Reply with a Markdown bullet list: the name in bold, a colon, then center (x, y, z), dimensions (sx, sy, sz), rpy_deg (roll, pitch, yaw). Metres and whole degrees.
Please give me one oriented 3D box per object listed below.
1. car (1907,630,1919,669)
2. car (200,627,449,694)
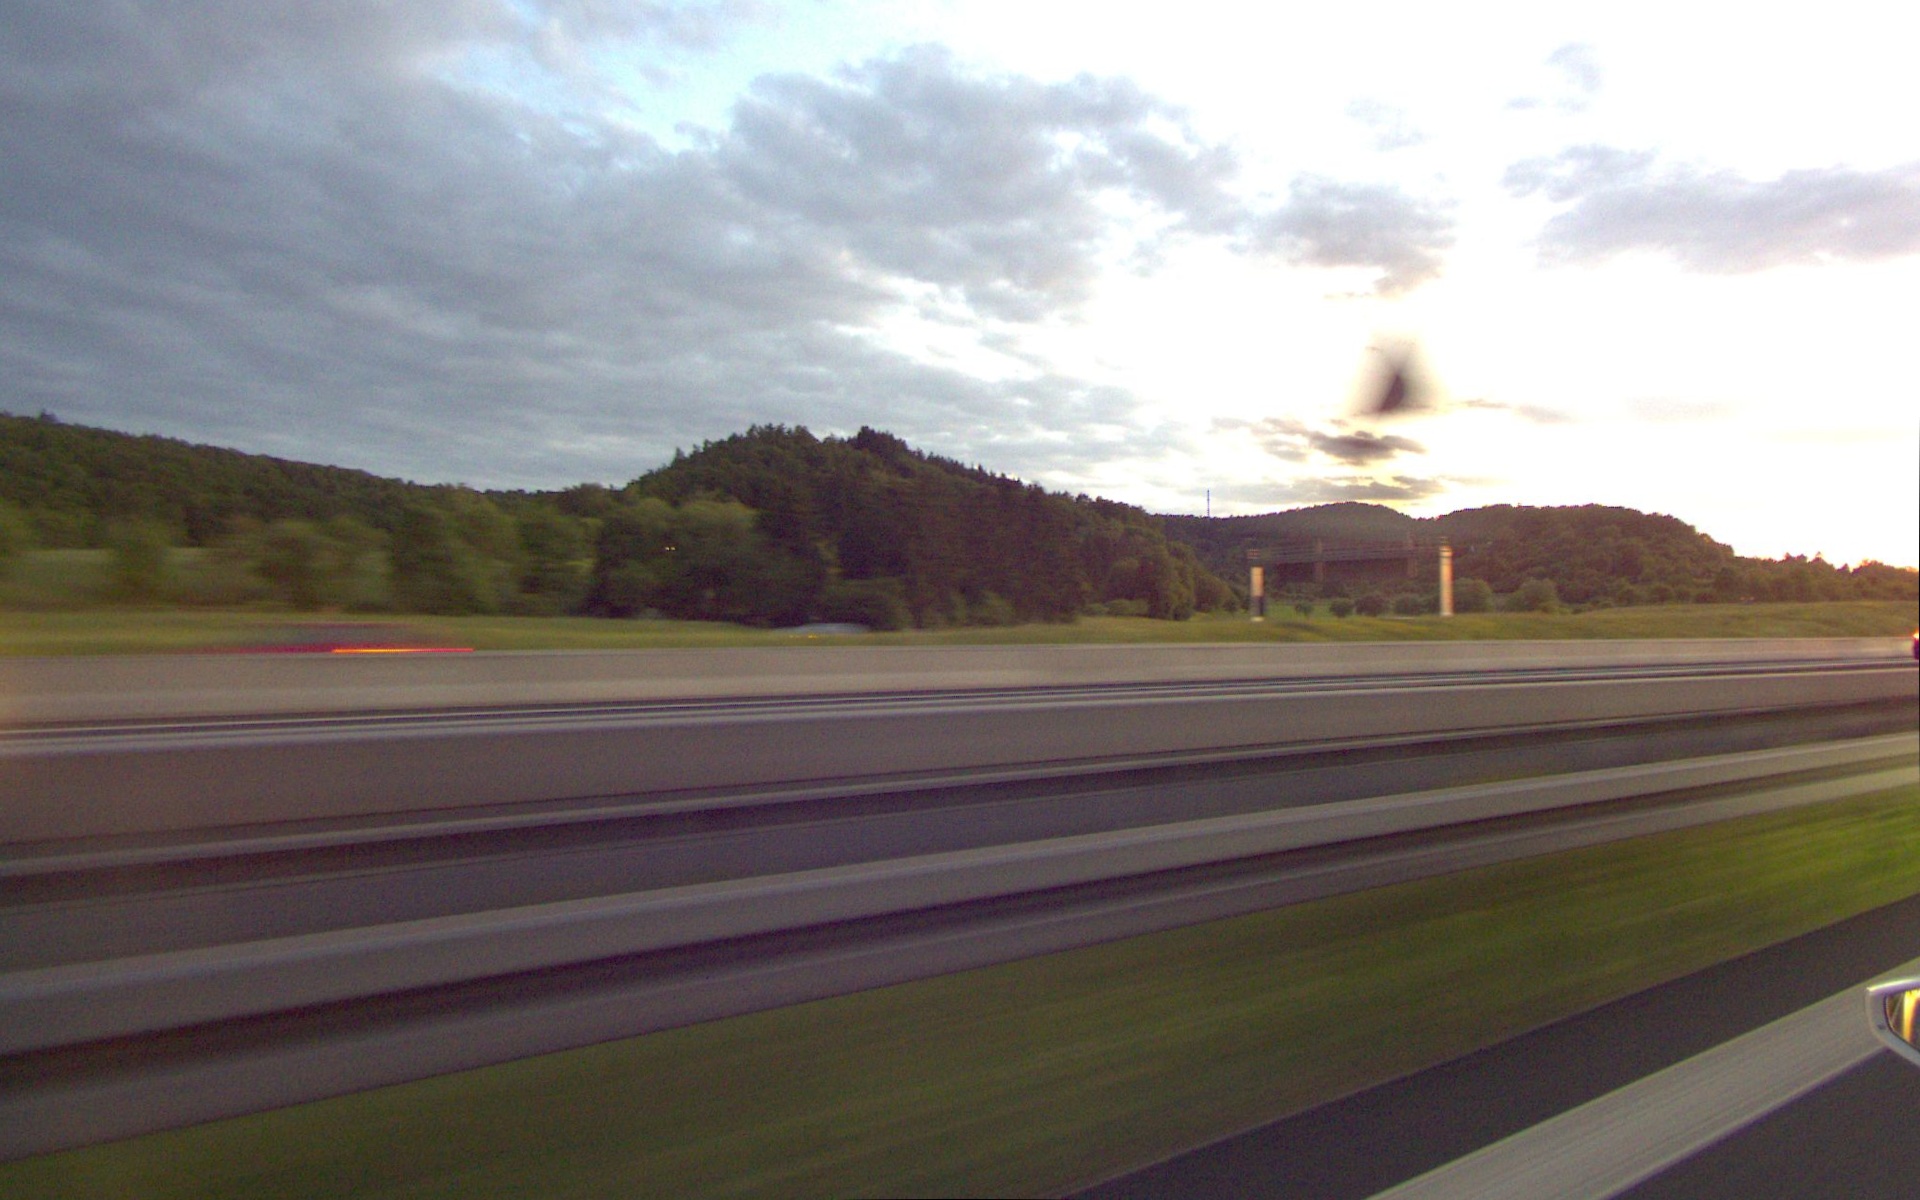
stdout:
- **car**: center (41.091, 2.025, 41.360), dimensions (4.467, 1.582, 1.863), rpy_deg (2, -2, -31)
- **car**: center (-12.967, 1.219, 20.782), dimensions (4.163, 1.266, 1.744), rpy_deg (2, -2, -30)
